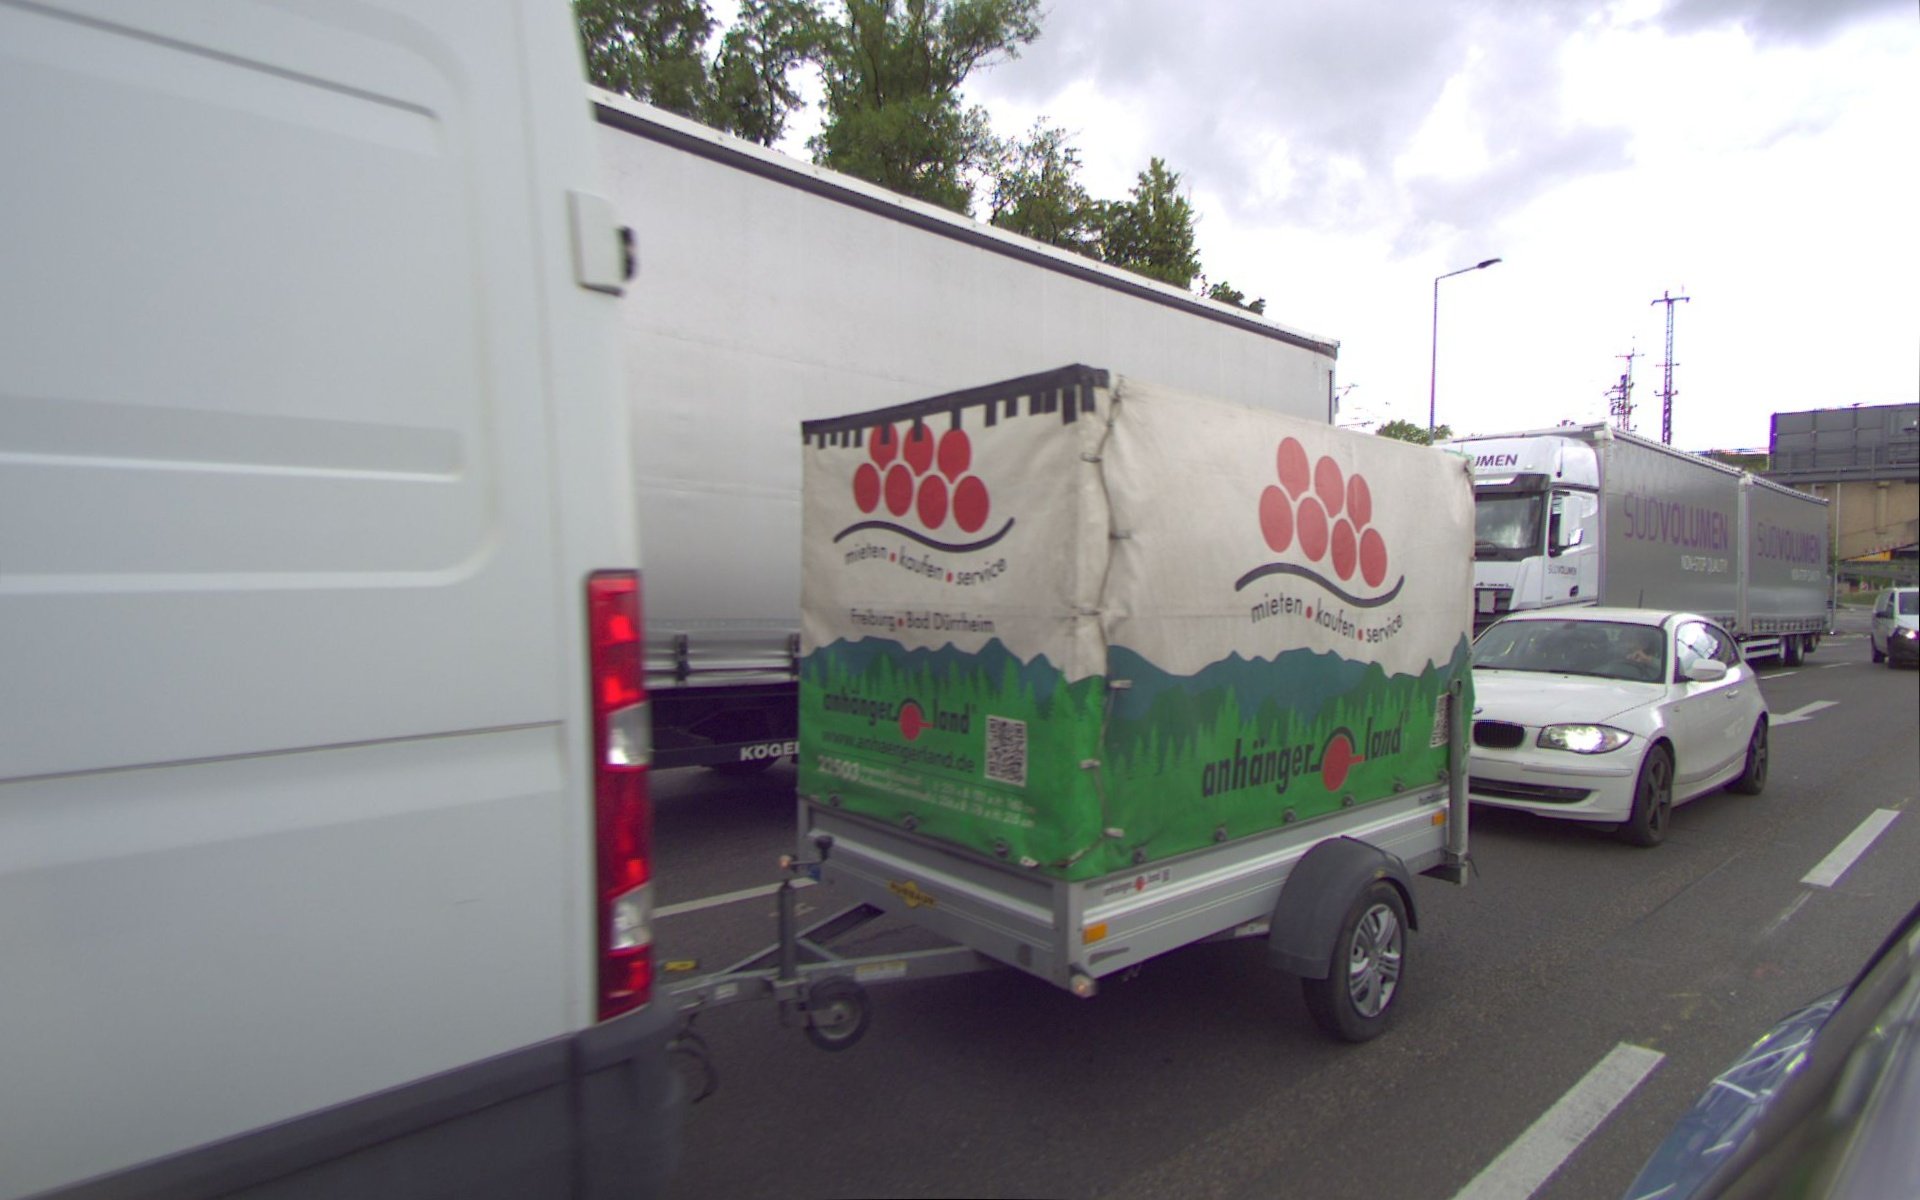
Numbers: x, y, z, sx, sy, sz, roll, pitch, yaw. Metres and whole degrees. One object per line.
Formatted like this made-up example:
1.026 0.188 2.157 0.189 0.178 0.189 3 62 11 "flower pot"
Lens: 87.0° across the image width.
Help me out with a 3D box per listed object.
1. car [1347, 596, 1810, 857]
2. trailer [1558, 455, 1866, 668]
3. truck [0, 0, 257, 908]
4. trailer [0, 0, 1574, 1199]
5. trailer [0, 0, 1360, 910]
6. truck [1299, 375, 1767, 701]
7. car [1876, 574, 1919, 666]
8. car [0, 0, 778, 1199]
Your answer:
4.828 0.693 7.640 4.270 1.415 1.720 0 1 -40 "car"
18.823 -0.801 24.910 10.789 4.194 3.731 0 0 -40 "trailer"
-6.862 -1.223 3.186 7.313 4.690 3.811 0 0 -41 "truck"
0.016 0.002 3.352 4.726 2.672 2.107 -1 1 -41 "trailer"
-1.700 -1.262 7.704 11.903 4.690 3.811 0 0 -41 "trailer"
10.635 -0.844 17.943 10.789 4.194 3.731 0 0 -40 "truck"
23.246 0.410 23.830 1.988 2.015 5.130 0 0 37 "car"
-3.202 -0.094 0.510 5.838 2.662 2.061 -1 -2 -40 "car"
